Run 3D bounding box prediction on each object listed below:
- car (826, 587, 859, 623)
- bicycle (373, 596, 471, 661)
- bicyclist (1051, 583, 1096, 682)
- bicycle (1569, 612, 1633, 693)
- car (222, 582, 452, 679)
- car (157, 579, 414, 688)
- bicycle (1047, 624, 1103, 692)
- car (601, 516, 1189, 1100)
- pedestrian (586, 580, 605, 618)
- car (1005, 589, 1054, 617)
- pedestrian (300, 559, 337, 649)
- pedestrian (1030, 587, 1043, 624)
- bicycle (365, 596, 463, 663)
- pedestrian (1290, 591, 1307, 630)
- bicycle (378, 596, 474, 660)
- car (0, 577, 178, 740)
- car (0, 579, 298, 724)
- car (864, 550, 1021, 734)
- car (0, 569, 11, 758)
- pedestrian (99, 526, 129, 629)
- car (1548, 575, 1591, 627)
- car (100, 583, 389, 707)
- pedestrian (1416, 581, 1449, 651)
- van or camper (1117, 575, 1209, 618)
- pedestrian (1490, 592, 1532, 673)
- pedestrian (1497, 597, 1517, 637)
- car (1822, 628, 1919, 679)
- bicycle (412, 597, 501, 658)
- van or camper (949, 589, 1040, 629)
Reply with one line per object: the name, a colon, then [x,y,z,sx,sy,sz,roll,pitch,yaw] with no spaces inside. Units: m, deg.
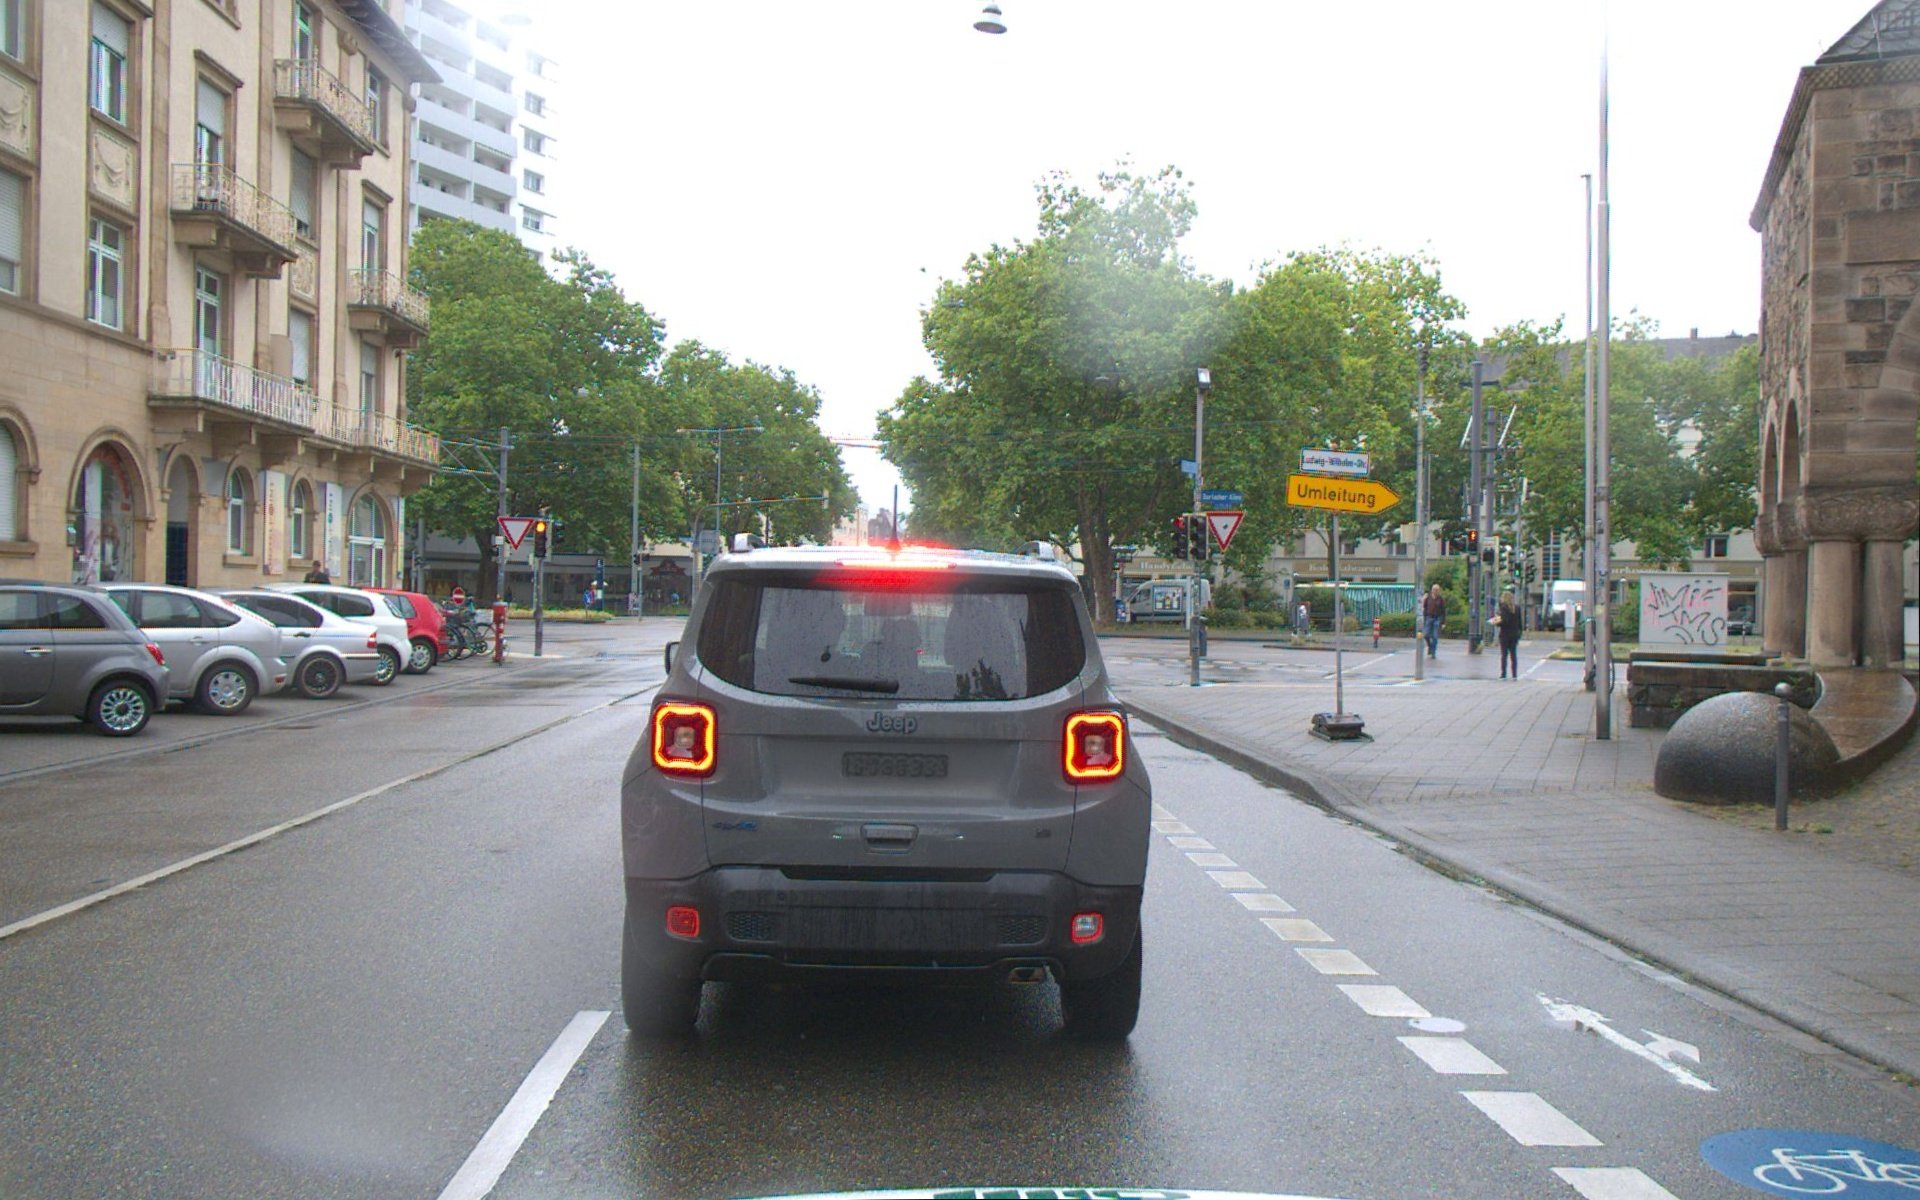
car: [-6.094,0.240,85.574,1.688,1.769,3.726,1,0,-5]
bicycle: [-10.745,0.566,33.050,1.774,1.288,0.498,0,0,-3]
bicyclist: [1.910,0.533,27.884,0.673,1.646,0.883,0,0,-2]
bicycle: [9.902,0.782,25.596,0.322,1.174,2.076,0,0,4]
car: [-10.761,0.502,28.648,3.371,1.585,1.681,1,0,-40]
car: [-10.451,0.492,25.707,3.371,1.585,1.681,1,0,-40]
bicycle: [1.915,0.944,27.860,0.678,1.039,2.657,0,0,-2]
car: [-0.247,0.602,6.837,1.739,1.716,3.847,0,0,-2]
pedestrian: [-18.100,-0.040,82.132,0.677,1.858,0.621,0,0,15]
car: [5.079,0.218,120.325,3.363,2.049,1.549,0,-1,12]
pedestrian: [-14.650,0.088,37.783,0.556,2.049,0.654,1,0,-1]
pedestrian: [4.304,0.299,93.416,0.637,2.049,0.483,1,0,11]
bicycle: [-10.718,0.576,32.504,1.728,1.288,0.522,0,0,-3]
pedestrian: [14.056,0.436,68.656,0.600,1.631,0.494,0,0,23]
bicycle: [-10.885,0.570,33.731,1.774,1.288,0.498,0,0,-3]
car: [-9.943,0.563,16.754,3.371,1.585,1.629,1,0,-40]
car: [-9.925,0.569,19.790,3.371,1.585,1.681,1,0,-40]
car: [-0.237,0.462,20.500,1.734,2.049,3.999,1,0,-1]
car: [-10.010,0.524,13.692,3.521,1.626,1.582,1,0,-40]
pedestrian: [-15.319,-0.399,29.949,0.359,1.854,0.347,0,-1,-3]
car: [31.328,0.048,84.980,1.868,2.600,4.786,1,0,22]
car: [-9.916,0.580,23.016,3.371,1.585,1.681,1,0,-40]
pedestrian: [12.115,0.405,42.452,0.769,1.790,0.946,0,0,14]
van or camper: [11.713,-0.213,95.665,5.149,2.356,2.091,1,0,3]
pedestrian: [11.601,0.679,34.828,0.766,1.674,0.655,0,0,11]
pedestrian: [22.042,0.703,66.642,0.660,1.581,0.761,1,-2,27]
car: [30.488,1.755,54.772,3.368,1.579,1.592,0,0,25]
bicycle: [-10.834,0.593,35.640,1.728,1.288,0.608,0,0,-3]
van or camper: [2.614,0.657,125.472,6.395,2.963,2.493,0,0,24]
